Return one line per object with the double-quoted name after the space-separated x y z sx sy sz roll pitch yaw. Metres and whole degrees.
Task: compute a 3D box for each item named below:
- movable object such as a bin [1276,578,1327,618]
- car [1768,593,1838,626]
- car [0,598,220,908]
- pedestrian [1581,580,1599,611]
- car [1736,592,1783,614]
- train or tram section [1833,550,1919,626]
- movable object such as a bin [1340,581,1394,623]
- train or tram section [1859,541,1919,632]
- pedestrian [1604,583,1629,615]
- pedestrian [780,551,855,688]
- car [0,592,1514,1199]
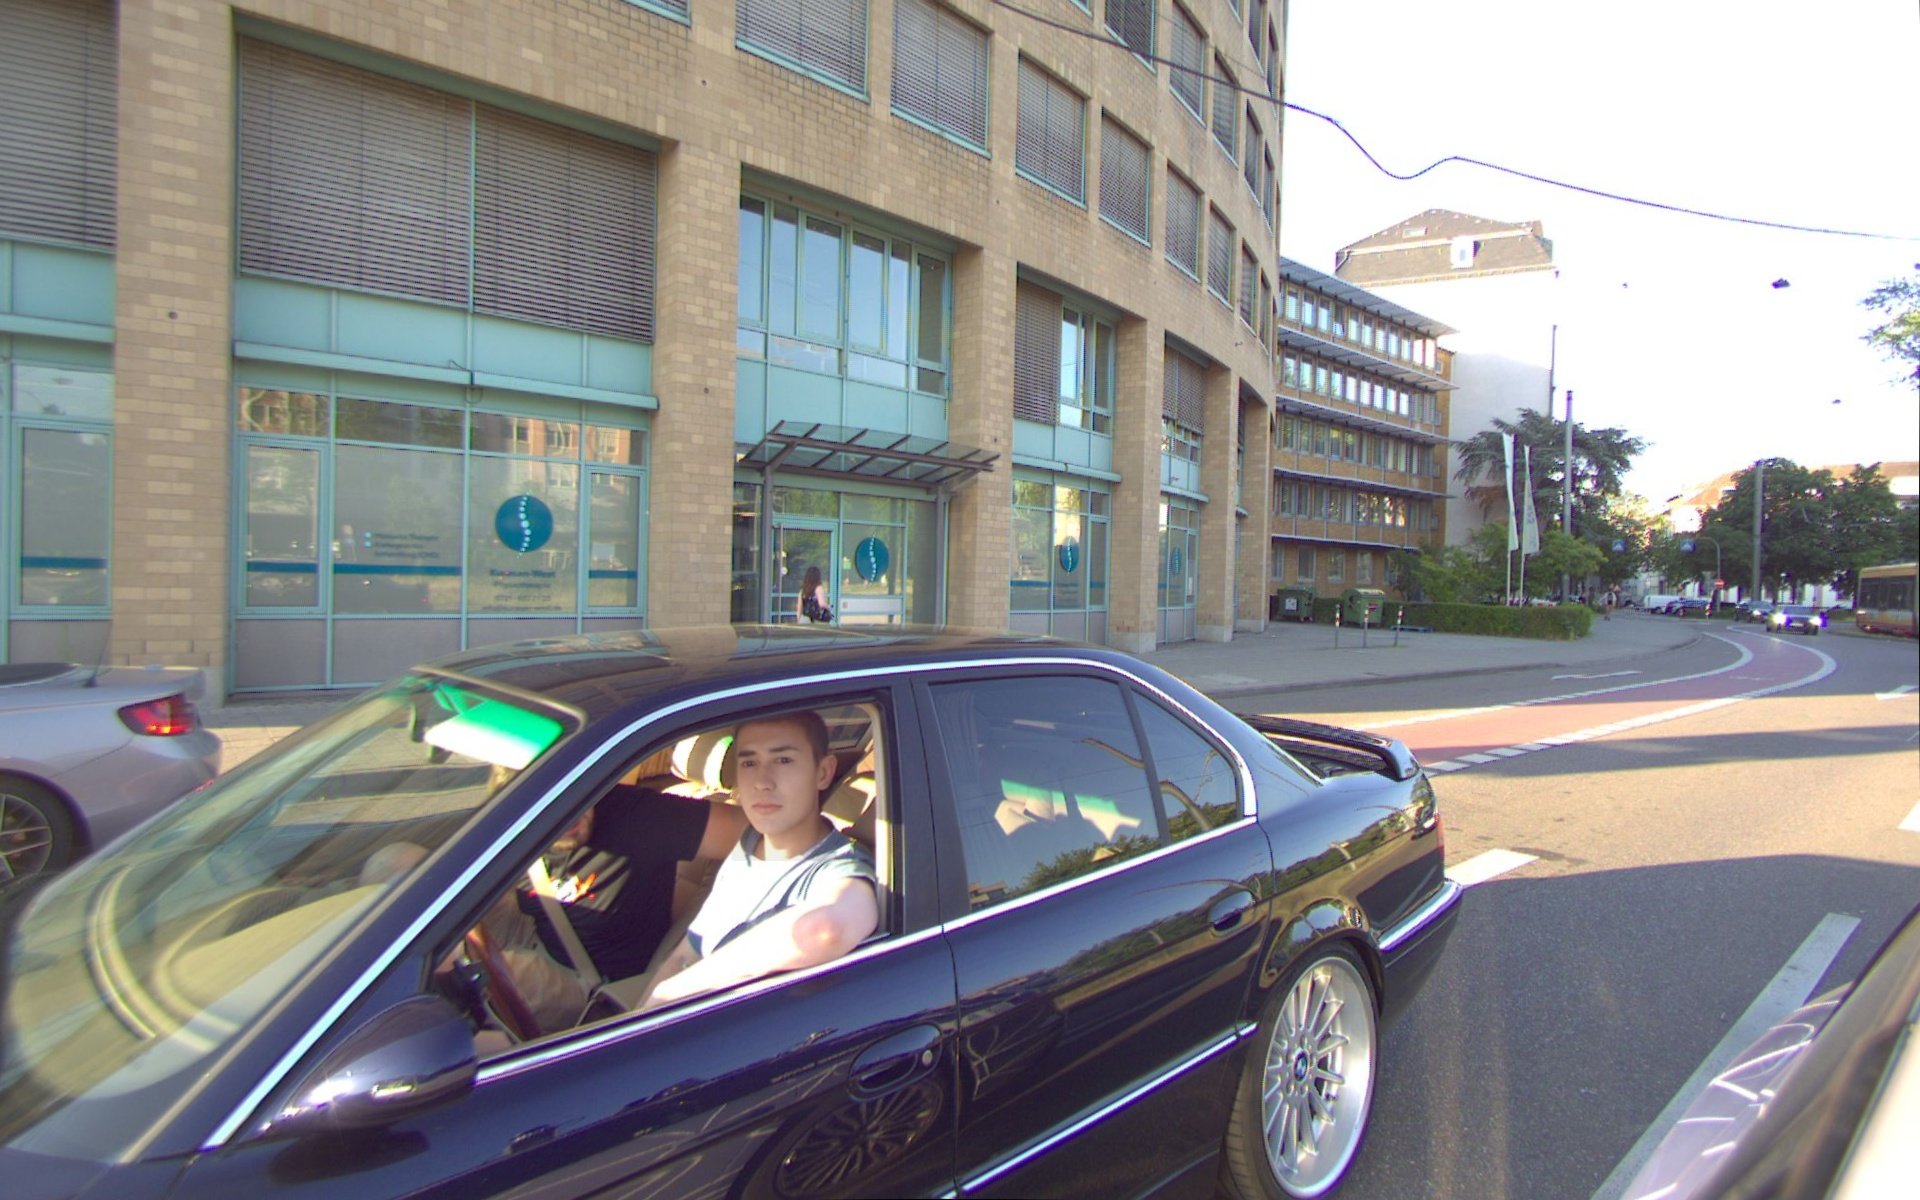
13.321 -0.085 39.529 1.310 1.477 1.425 0 1 -43 "movable object such as a bin"
40.976 0.437 49.289 1.985 1.479 4.096 2 1 32 "car"
-5.914 0.698 4.467 4.153 1.403 1.746 0 0 -41 "car"
37.332 -0.256 59.953 0.711 1.830 0.728 0 1 -41 "pedestrian"
52.181 0.193 66.003 3.932 1.405 1.756 0 -1 -42 "car"
50.853 -0.687 55.763 2.897 3.785 12.037 2 1 35 "train or tram section"
14.864 0.069 36.957 1.311 1.477 1.424 0 1 -45 "movable object such as a bin"
44.161 -0.575 46.040 2.865 3.785 12.043 2 1 32 "train or tram section"
39.319 -0.077 60.616 0.898 1.918 1.121 1 1 14 "pedestrian"
-1.828 0.231 12.997 0.702 1.702 0.626 0 1 -44 "pedestrian"
-0.718 0.700 2.324 4.656 1.402 1.997 0 1 -41 "car"
